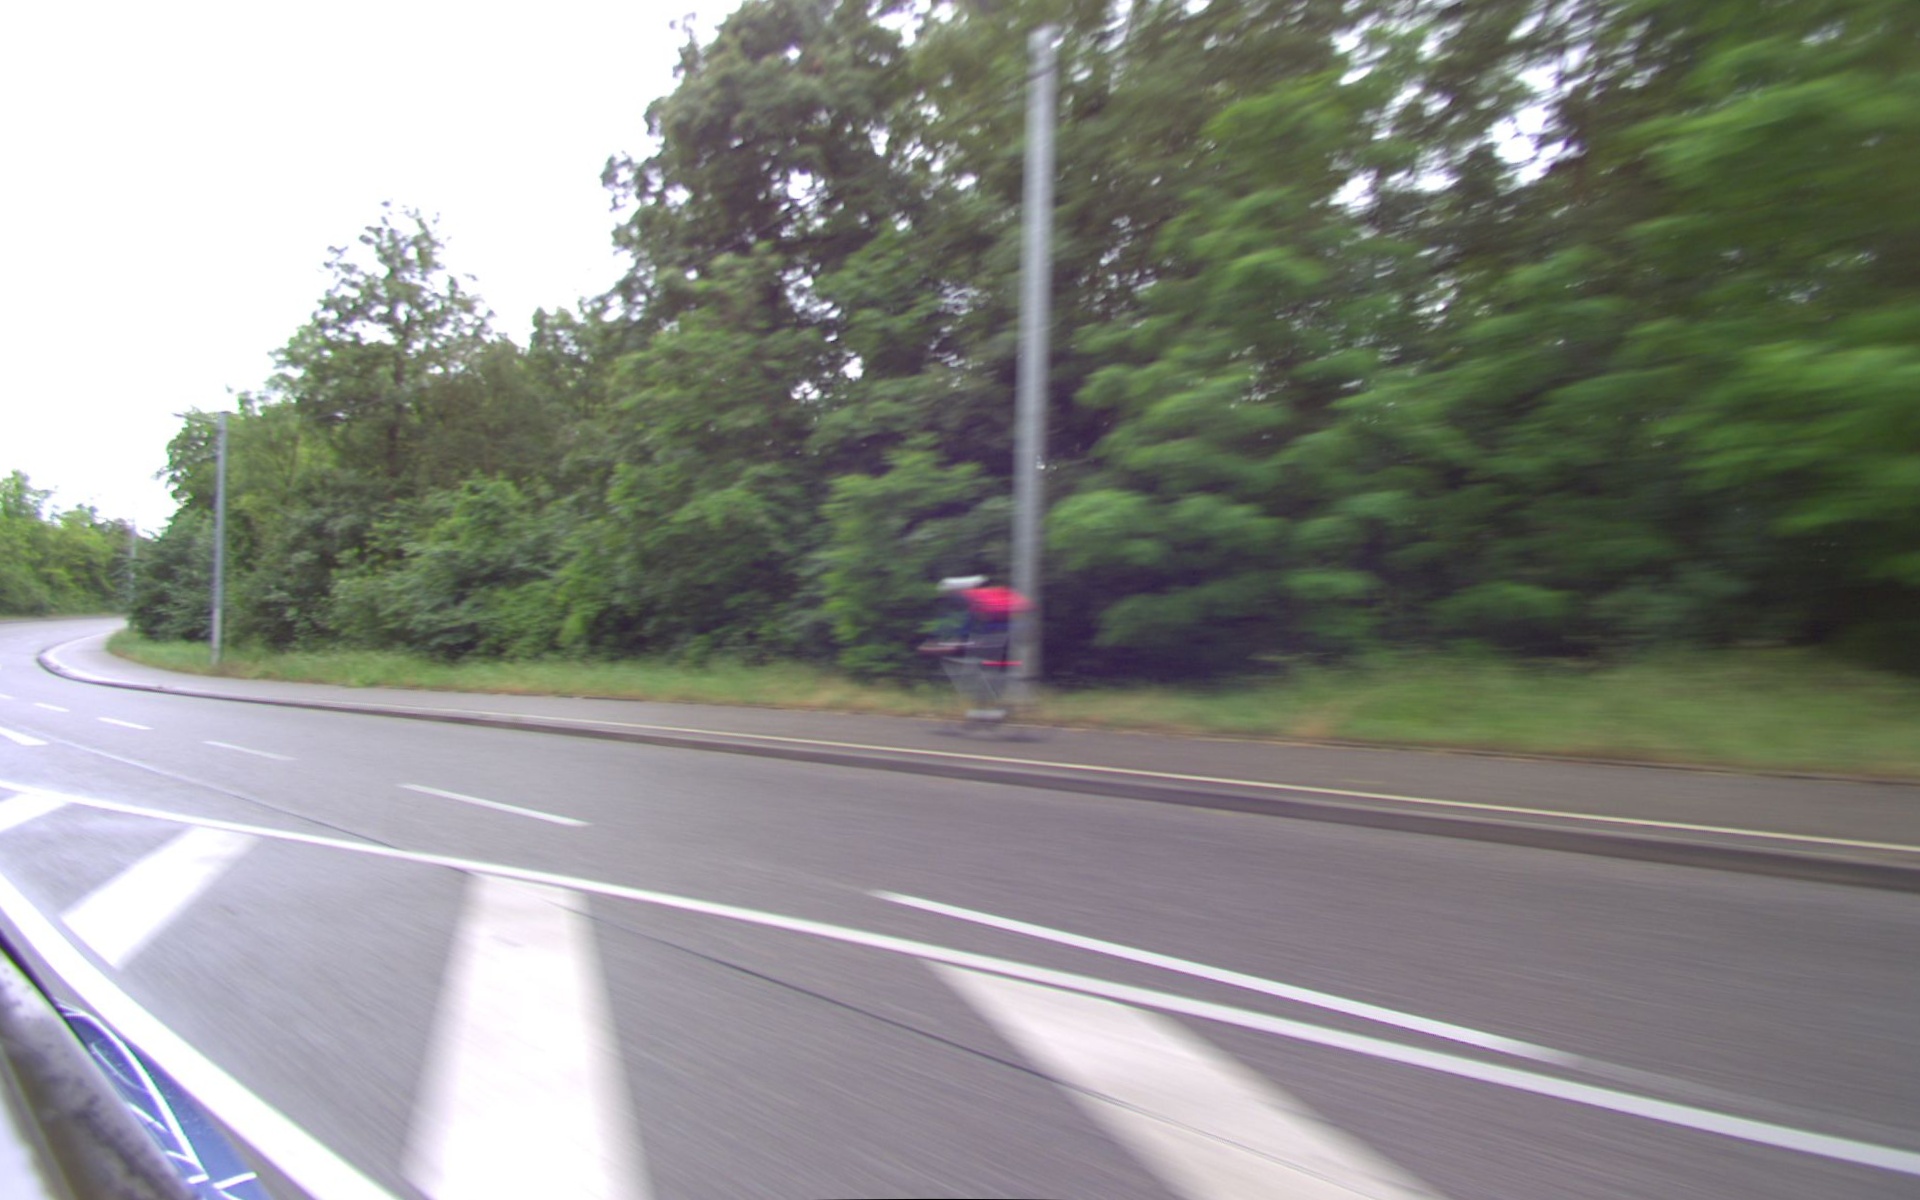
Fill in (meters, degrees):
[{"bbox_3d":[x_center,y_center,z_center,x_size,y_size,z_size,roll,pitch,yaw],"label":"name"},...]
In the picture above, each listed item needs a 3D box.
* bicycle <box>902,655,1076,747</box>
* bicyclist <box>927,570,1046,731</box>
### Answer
[{"bbox_3d":[0.250,1.015,10.554,2.093,0.855,0.352,-2,-1,43],"label":"bicycle"},{"bbox_3d":[0.257,0.516,10.542,1.298,1.586,0.332,-3,-2,43],"label":"bicyclist"}]
